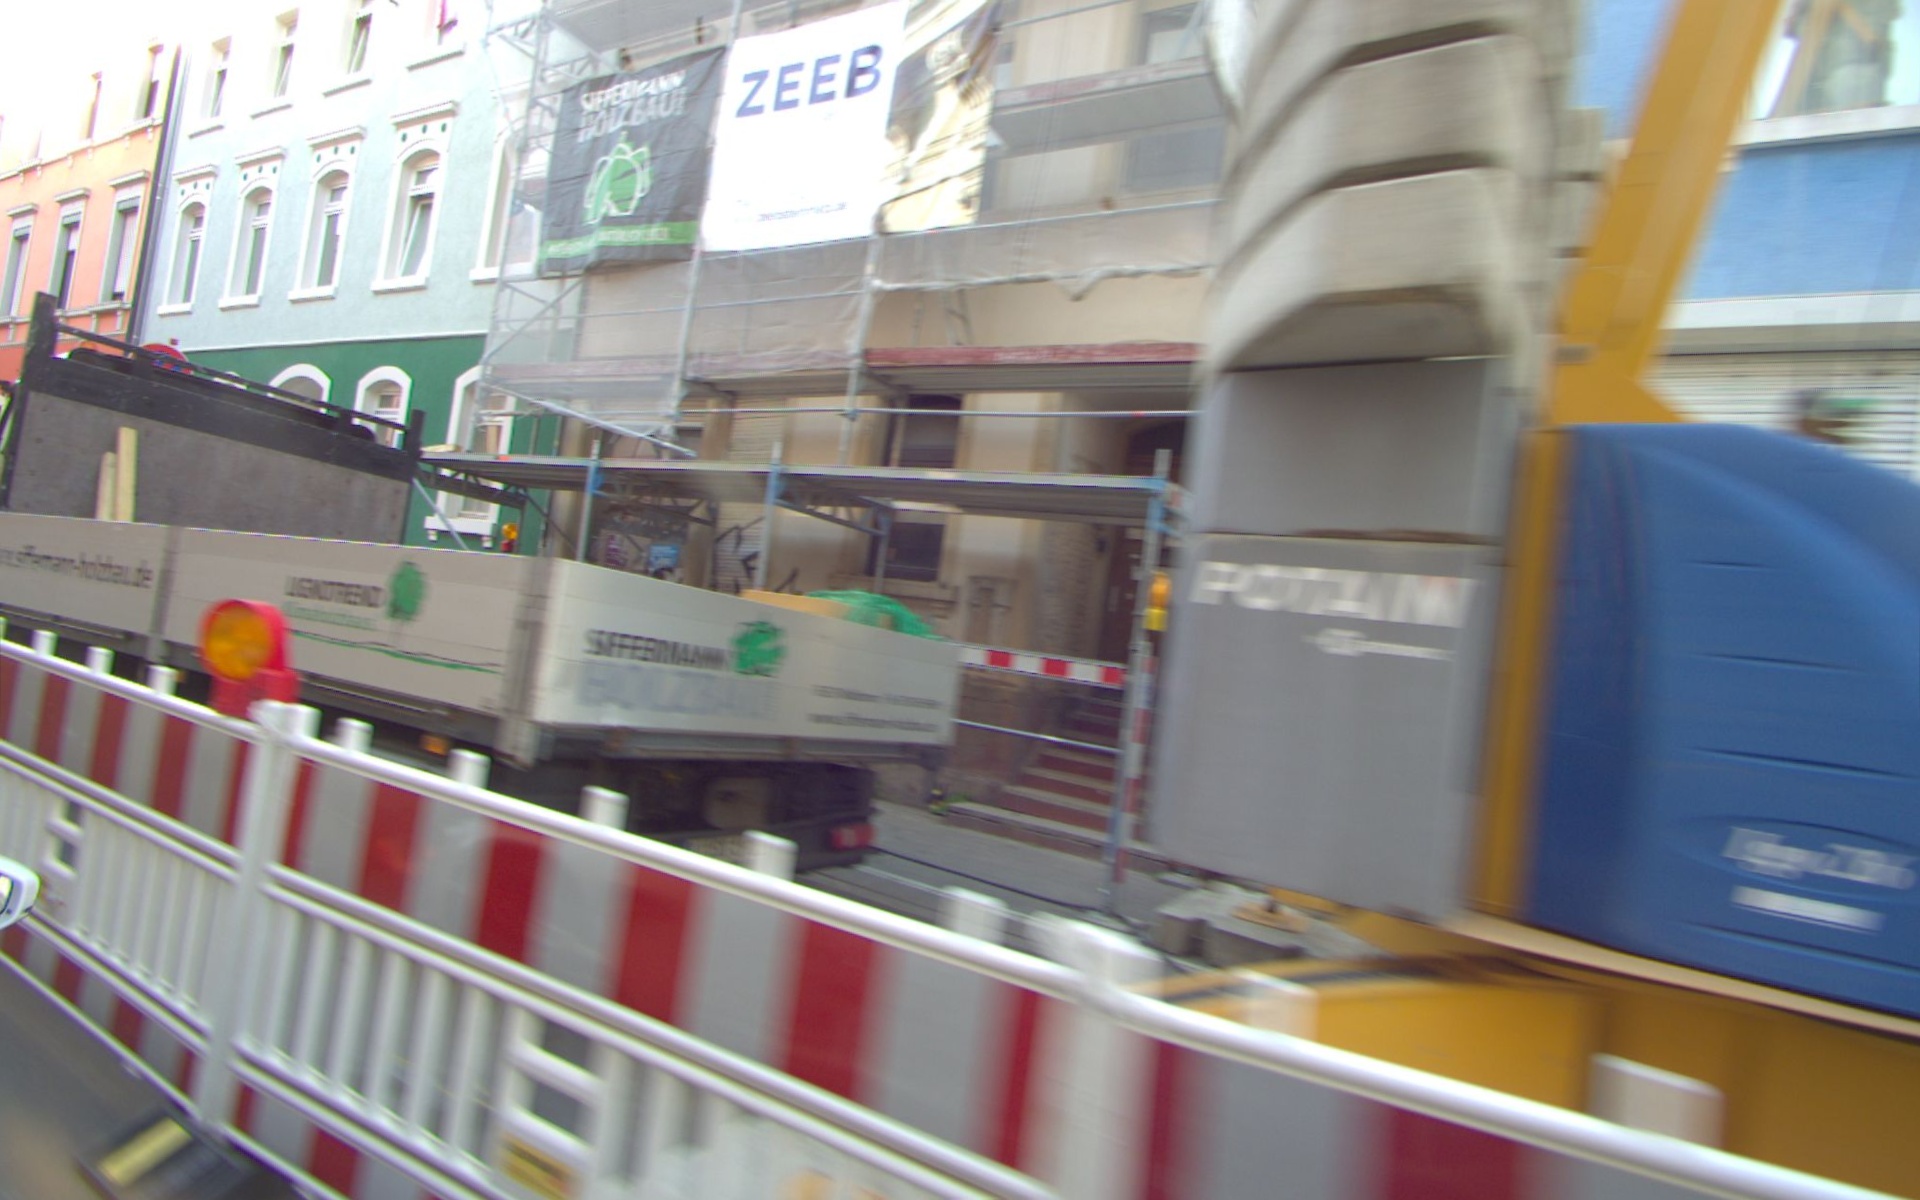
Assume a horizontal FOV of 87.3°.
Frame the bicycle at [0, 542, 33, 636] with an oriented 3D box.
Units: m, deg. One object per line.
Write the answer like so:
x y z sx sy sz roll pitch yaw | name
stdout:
-12.399 -0.258 11.923 0.632 1.121 1.858 7 -4 24 | bicycle

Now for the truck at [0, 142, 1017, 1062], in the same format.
-3.634 -0.165 6.134 7.271 2.843 2.670 6 -4 32 | truck
